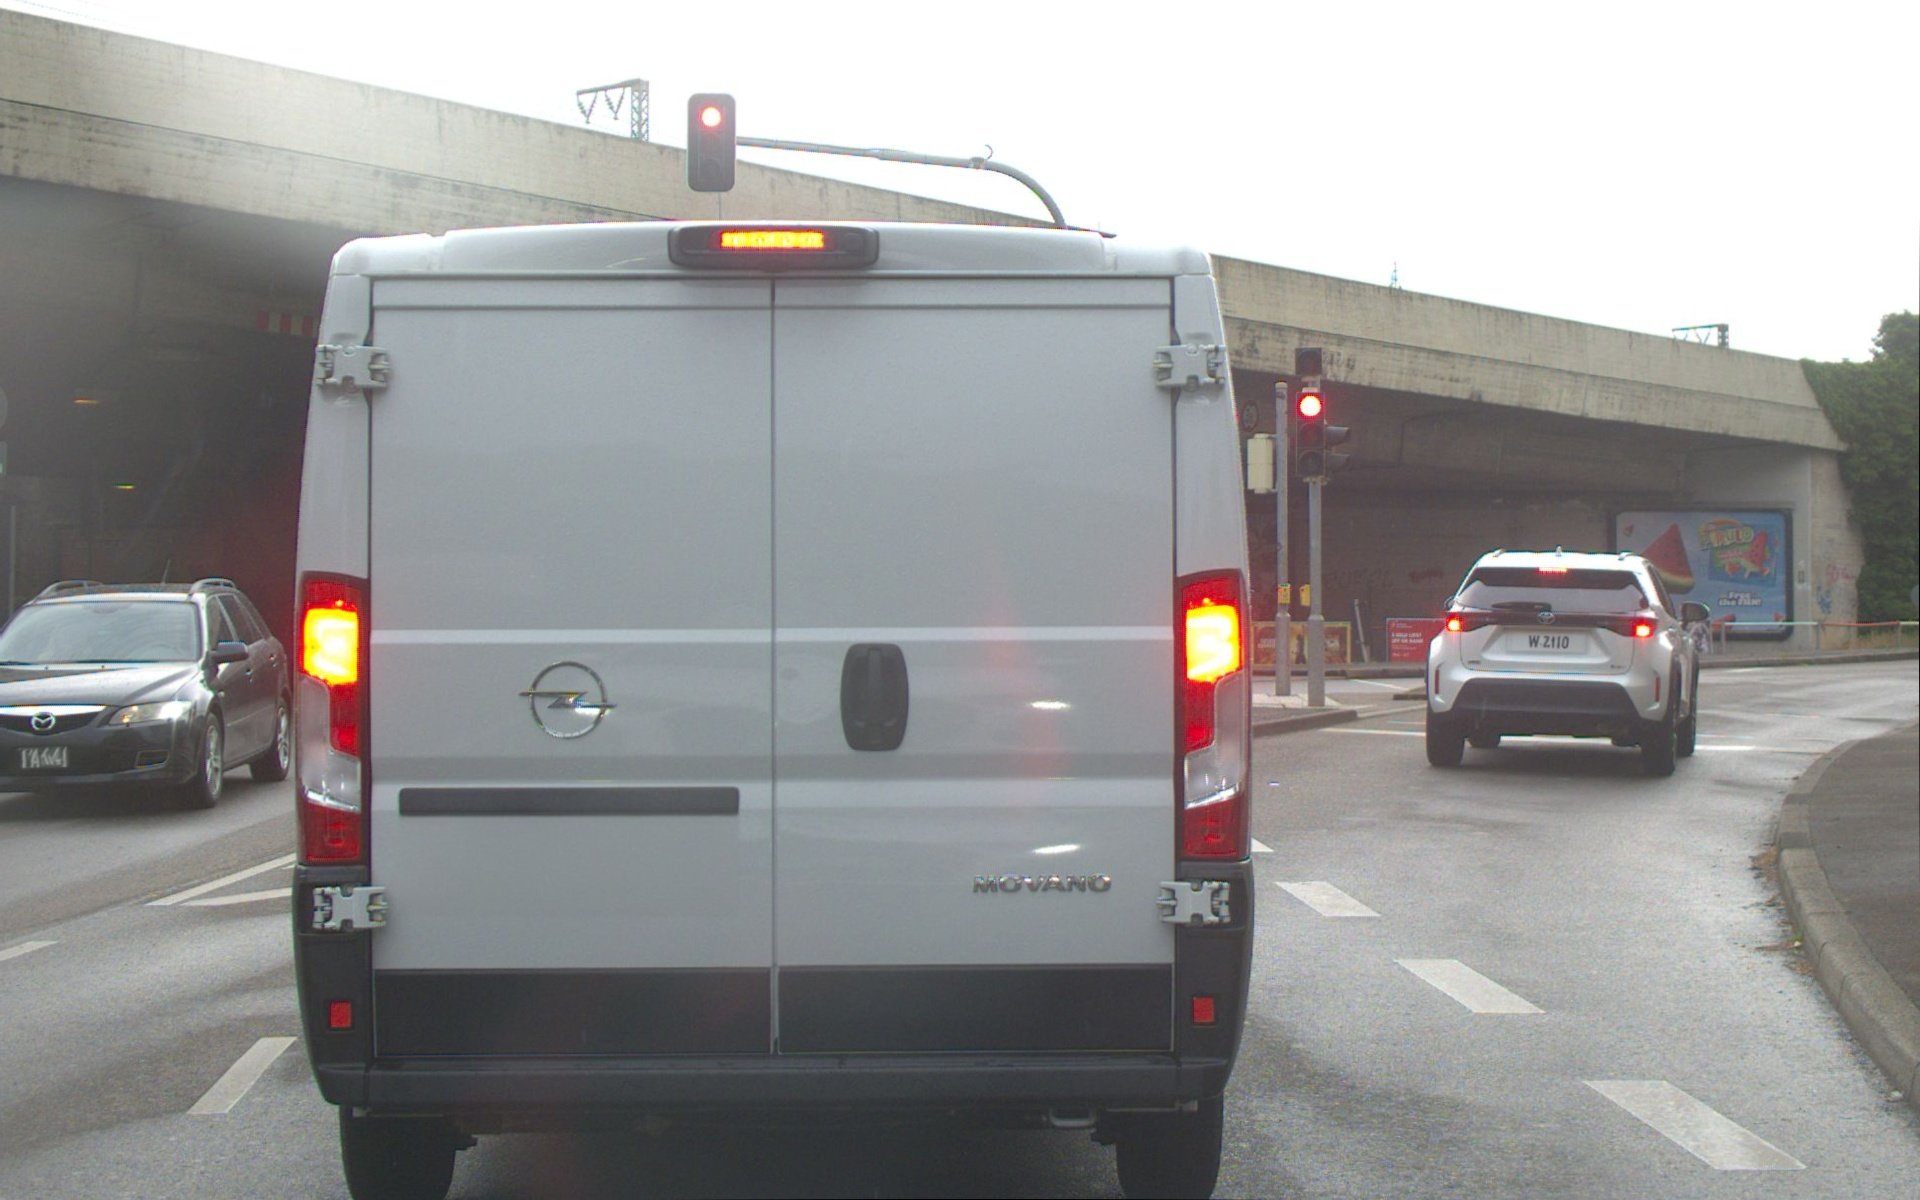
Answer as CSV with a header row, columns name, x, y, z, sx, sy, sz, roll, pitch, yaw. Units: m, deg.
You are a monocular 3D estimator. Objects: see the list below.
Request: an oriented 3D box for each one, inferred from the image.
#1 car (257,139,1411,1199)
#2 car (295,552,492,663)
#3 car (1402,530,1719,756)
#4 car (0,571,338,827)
name,x,y,z,sx,sy,sz,roll,pitch,yaw
car,-0.265,0.216,9.533,2.305,2.335,5.282,0,1,0
car,-8.185,0.126,49.407,1.993,1.513,4.001,0,-1,-22
car,4.550,0.313,25.614,1.995,1.544,3.997,0,-1,15
car,-5.597,0.591,23.256,1.842,1.564,4.412,0,0,2
